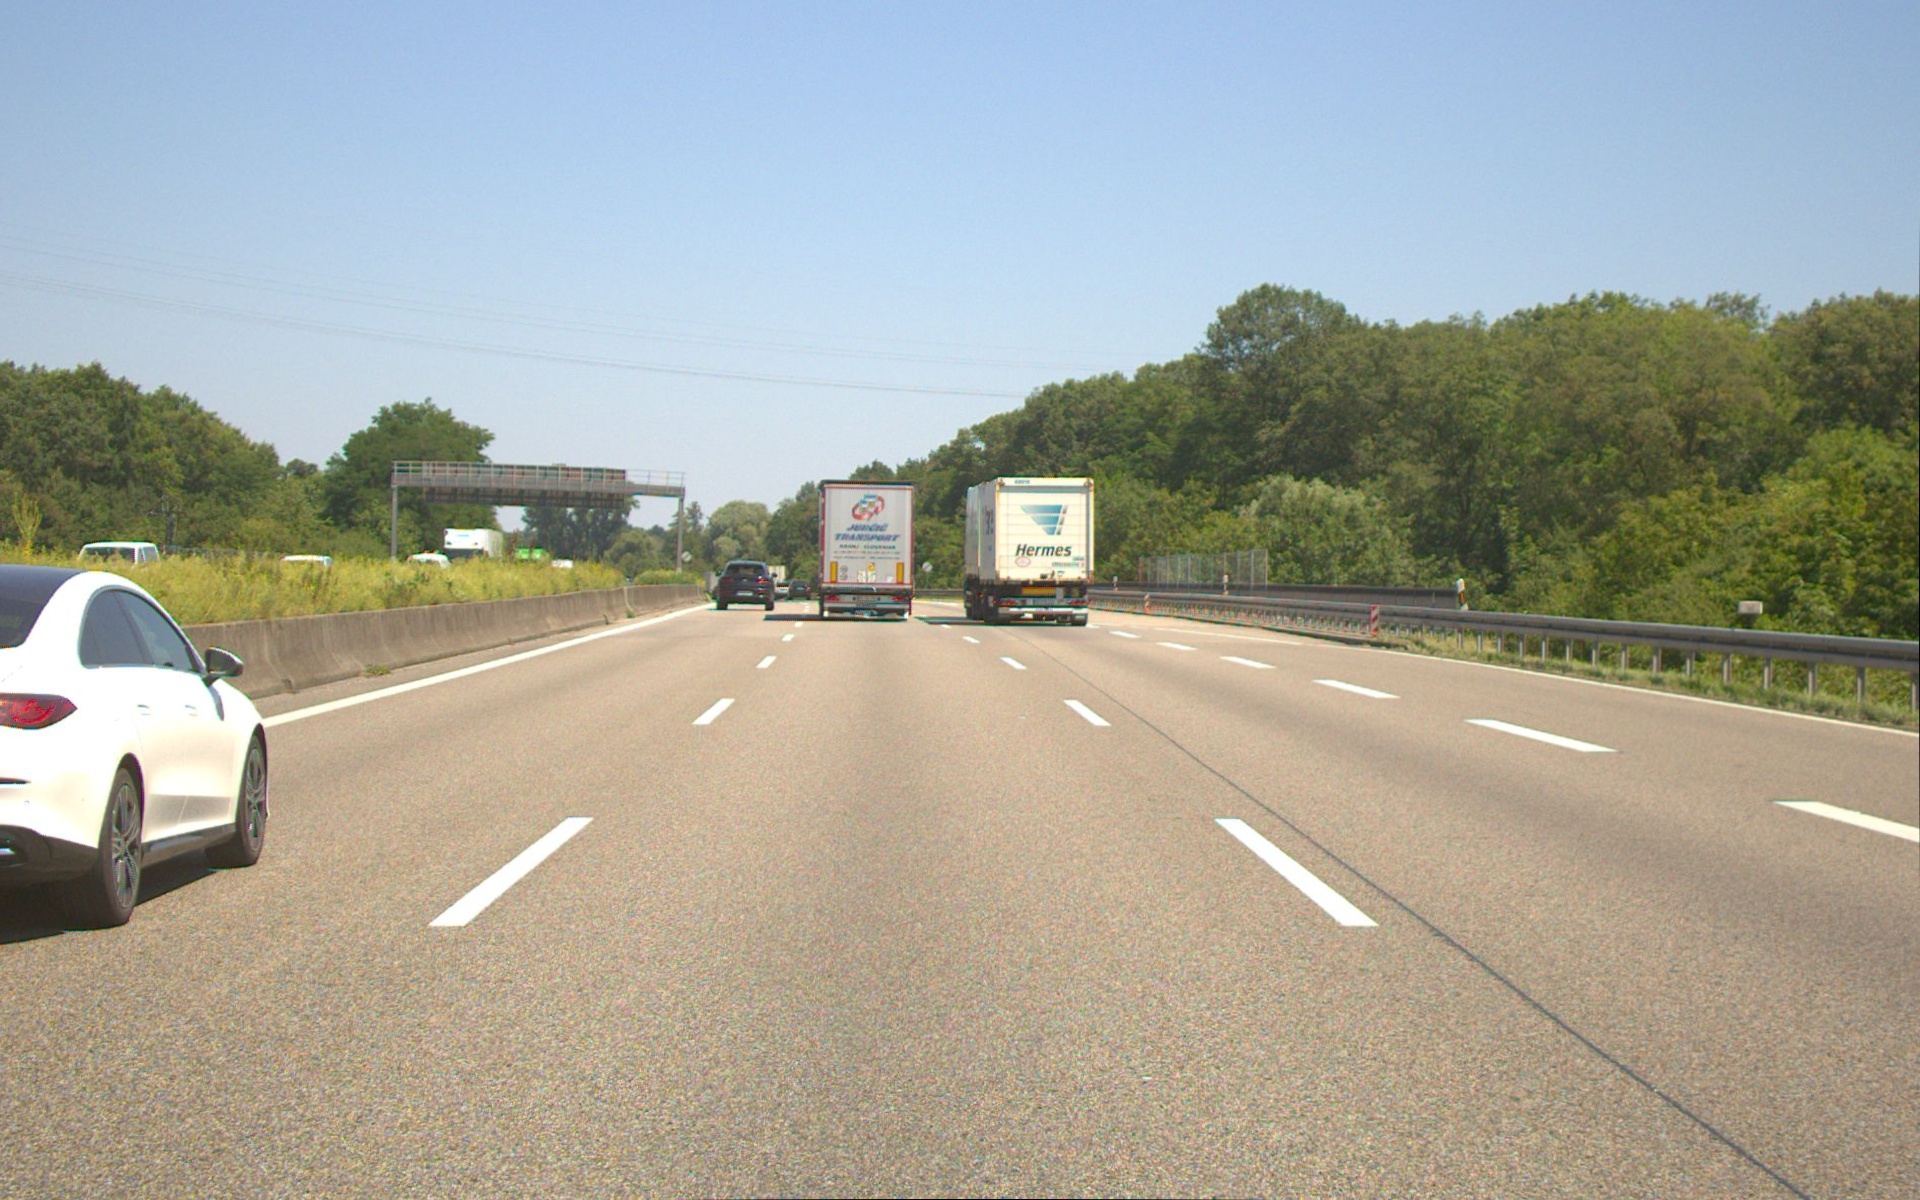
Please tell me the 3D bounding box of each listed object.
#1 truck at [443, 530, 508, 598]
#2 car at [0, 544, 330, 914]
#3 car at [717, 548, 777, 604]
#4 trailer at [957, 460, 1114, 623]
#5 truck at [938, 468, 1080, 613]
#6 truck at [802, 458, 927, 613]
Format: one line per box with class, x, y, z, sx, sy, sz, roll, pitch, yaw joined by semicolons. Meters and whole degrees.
truck;-29.221;-2.178;207.551;3.048;3.963;8.289;1;1;-2
car;-4.270;0.464;15.991;1.767;1.443;5.108;0;1;0
car;-7.566;-0.877;121.987;1.993;1.867;4.001;1;2;-5
trailer;1.945;-1.639;92.961;3.367;4.128;9.093;1;2;-4
truck;1.352;-1.833;102.499;3.325;4.039;10.956;1;2;-4
truck;-2.799;-1.871;97.999;3.229;4.187;8.467;1;1;-3
